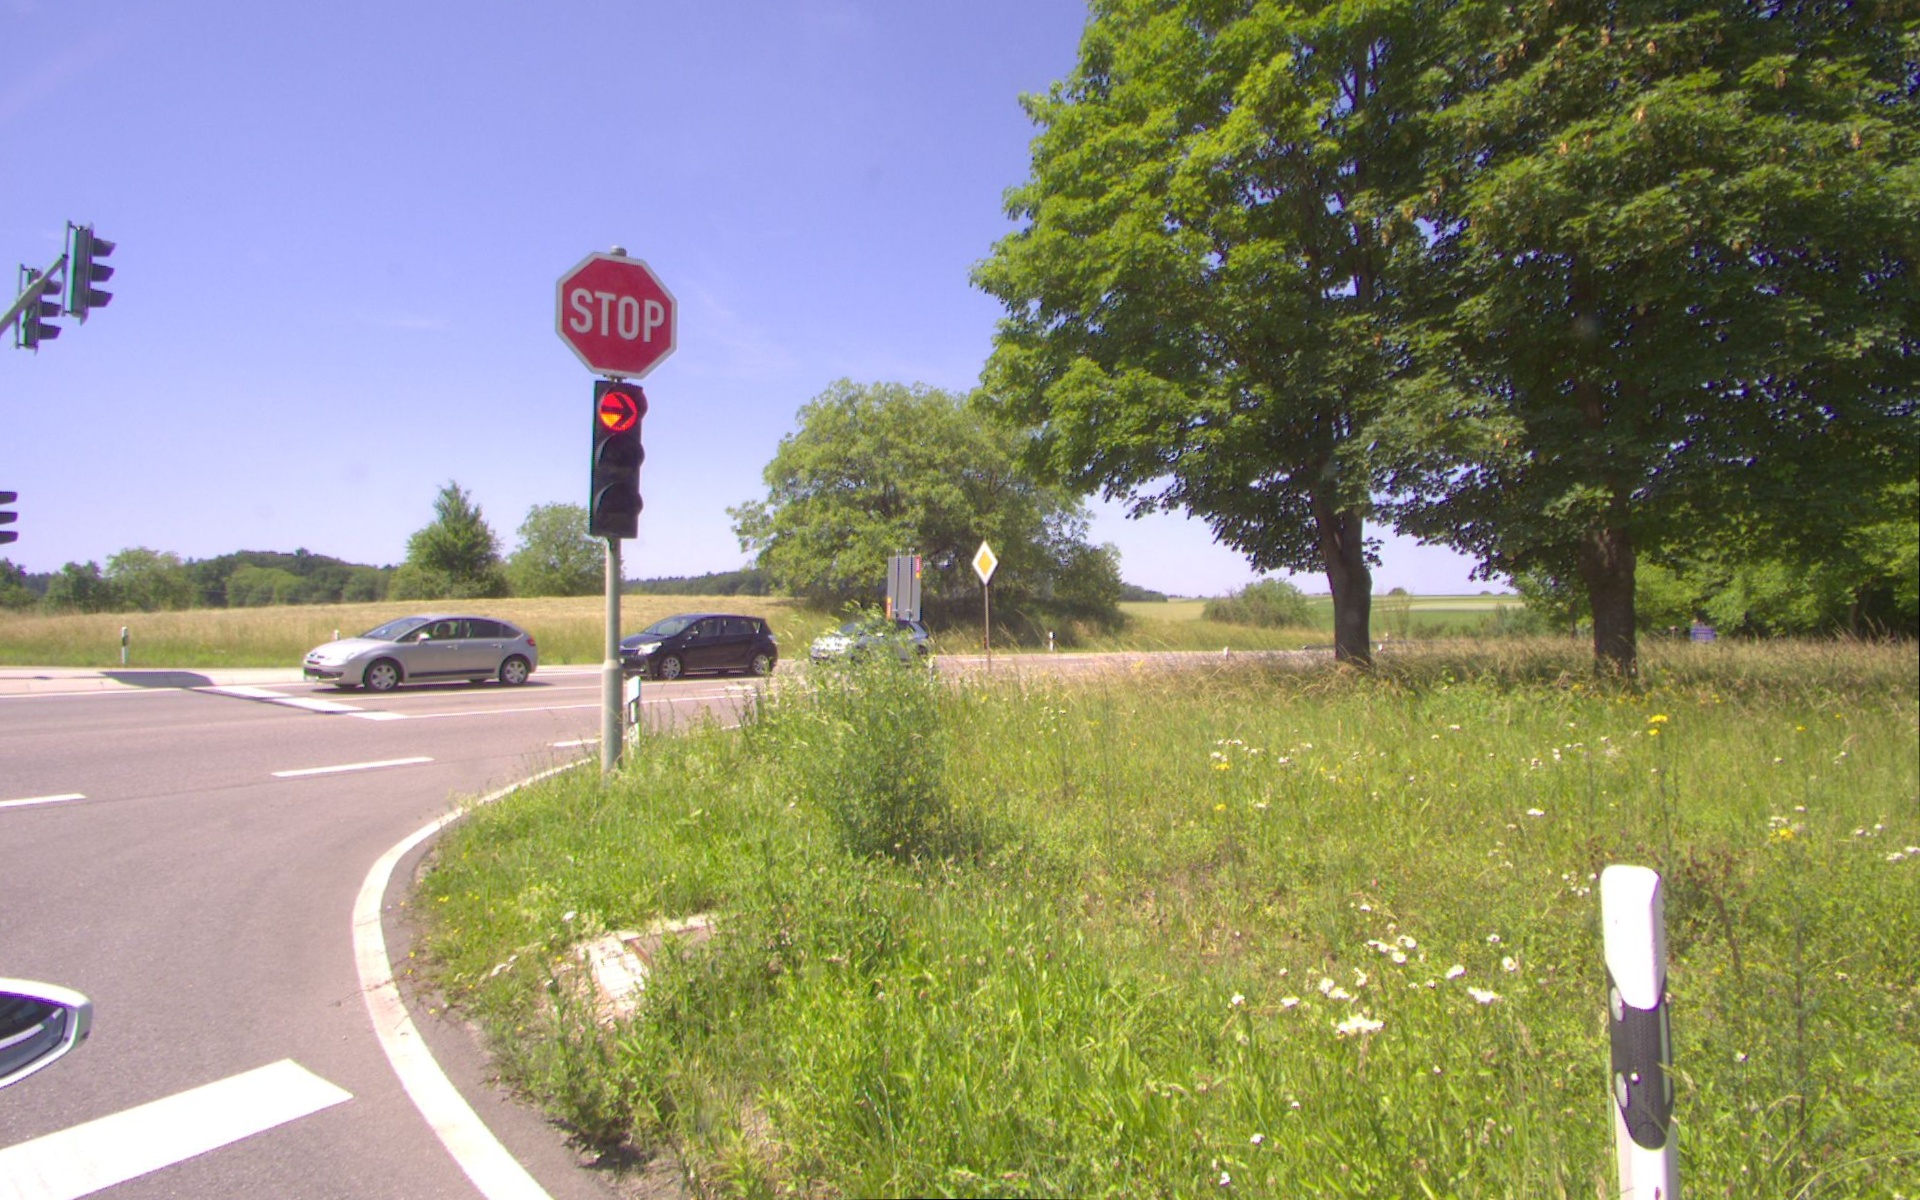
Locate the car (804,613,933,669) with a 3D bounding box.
[{"bbox_3d":[-2.773,1.250,31.119,1.635,1.573,3.991,2,0,40],"label":"car"}]

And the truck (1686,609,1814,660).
[{"bbox_3d":[70.421,3.104,89.043,16.569,4.185,2.837,2,0,-29],"label":"truck"}]

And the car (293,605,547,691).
[{"bbox_3d":[-10.718,0.921,20.138,1.707,1.489,4.144,2,0,37],"label":"car"}]

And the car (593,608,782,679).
[{"bbox_3d":[-6.735,1.069,25.111,1.708,1.573,4.350,2,0,40],"label":"car"}]
